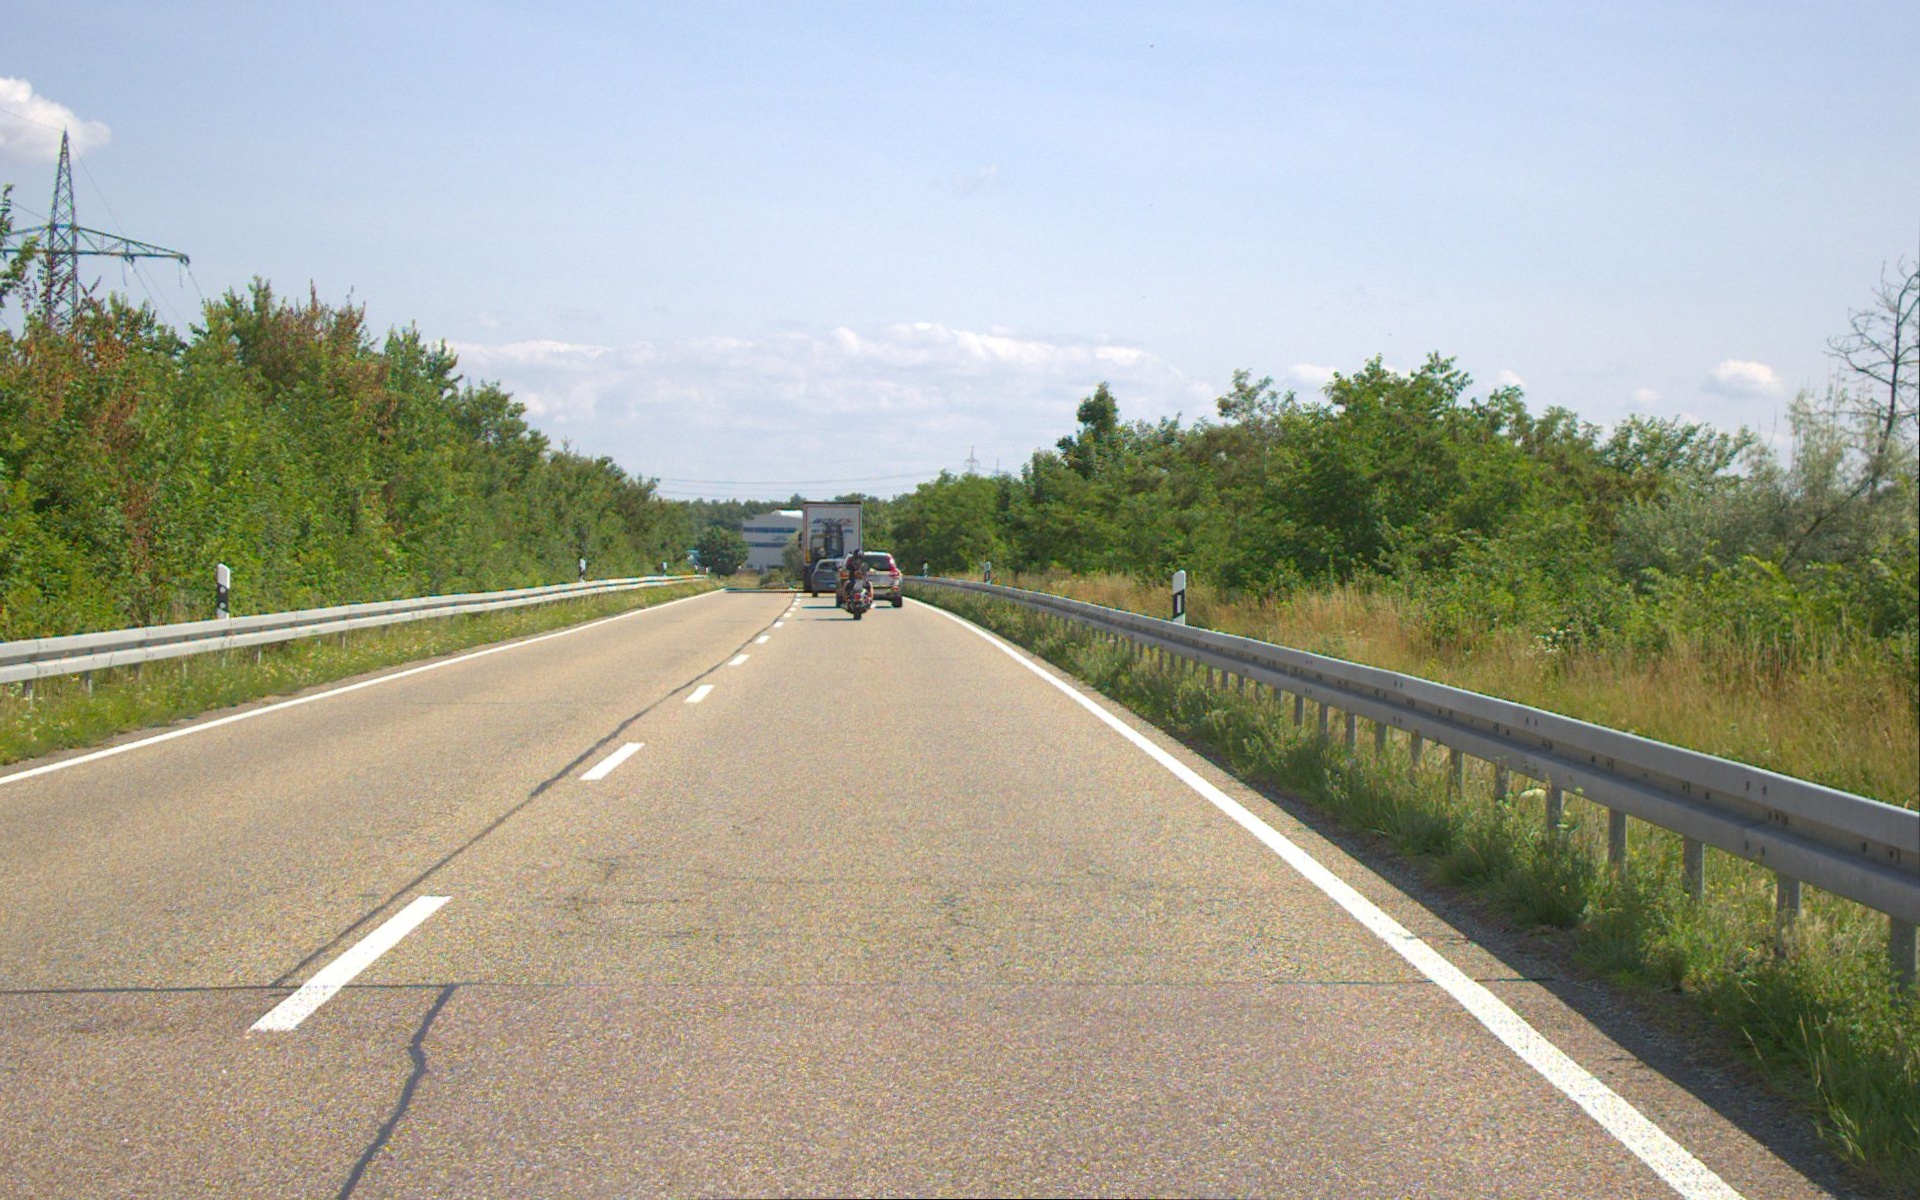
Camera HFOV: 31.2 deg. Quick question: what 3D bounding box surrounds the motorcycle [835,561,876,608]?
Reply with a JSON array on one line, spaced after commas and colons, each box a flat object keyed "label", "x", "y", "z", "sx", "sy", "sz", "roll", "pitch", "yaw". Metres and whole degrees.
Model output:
[{"label": "motorcycle", "x": -2.295, "y": -0.344, "z": 75.905, "sx": 0.780, "sy": 0.972, "sz": 2.361, "roll": 0, "pitch": 2, "yaw": 1}]

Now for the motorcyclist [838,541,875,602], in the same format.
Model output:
[{"label": "motorcyclist", "x": -2.283, "y": -0.624, "z": 75.917, "sx": 0.780, "sy": 1.321, "sz": 0.813, "roll": 0, "pitch": 2, "yaw": 1}]

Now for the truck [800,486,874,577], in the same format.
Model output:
[{"label": "truck", "x": -5.628, "y": -3.114, "z": 156.085, "sx": 3.241, "sy": 3.965, "sz": 9.445, "roll": 0, "pitch": 1, "yaw": -3}]

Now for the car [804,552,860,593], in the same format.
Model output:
[{"label": "car", "x": -4.787, "y": -1.037, "z": 128.961, "sx": 1.866, "sy": 1.415, "sz": 4.000, "roll": 1, "pitch": 2, "yaw": 1}]

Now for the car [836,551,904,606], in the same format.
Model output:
[{"label": "car", "x": -2.555, "y": -0.622, "z": 96.737, "sx": 1.825, "sy": 1.446, "sz": 4.001, "roll": 0, "pitch": 2, "yaw": -3}]
